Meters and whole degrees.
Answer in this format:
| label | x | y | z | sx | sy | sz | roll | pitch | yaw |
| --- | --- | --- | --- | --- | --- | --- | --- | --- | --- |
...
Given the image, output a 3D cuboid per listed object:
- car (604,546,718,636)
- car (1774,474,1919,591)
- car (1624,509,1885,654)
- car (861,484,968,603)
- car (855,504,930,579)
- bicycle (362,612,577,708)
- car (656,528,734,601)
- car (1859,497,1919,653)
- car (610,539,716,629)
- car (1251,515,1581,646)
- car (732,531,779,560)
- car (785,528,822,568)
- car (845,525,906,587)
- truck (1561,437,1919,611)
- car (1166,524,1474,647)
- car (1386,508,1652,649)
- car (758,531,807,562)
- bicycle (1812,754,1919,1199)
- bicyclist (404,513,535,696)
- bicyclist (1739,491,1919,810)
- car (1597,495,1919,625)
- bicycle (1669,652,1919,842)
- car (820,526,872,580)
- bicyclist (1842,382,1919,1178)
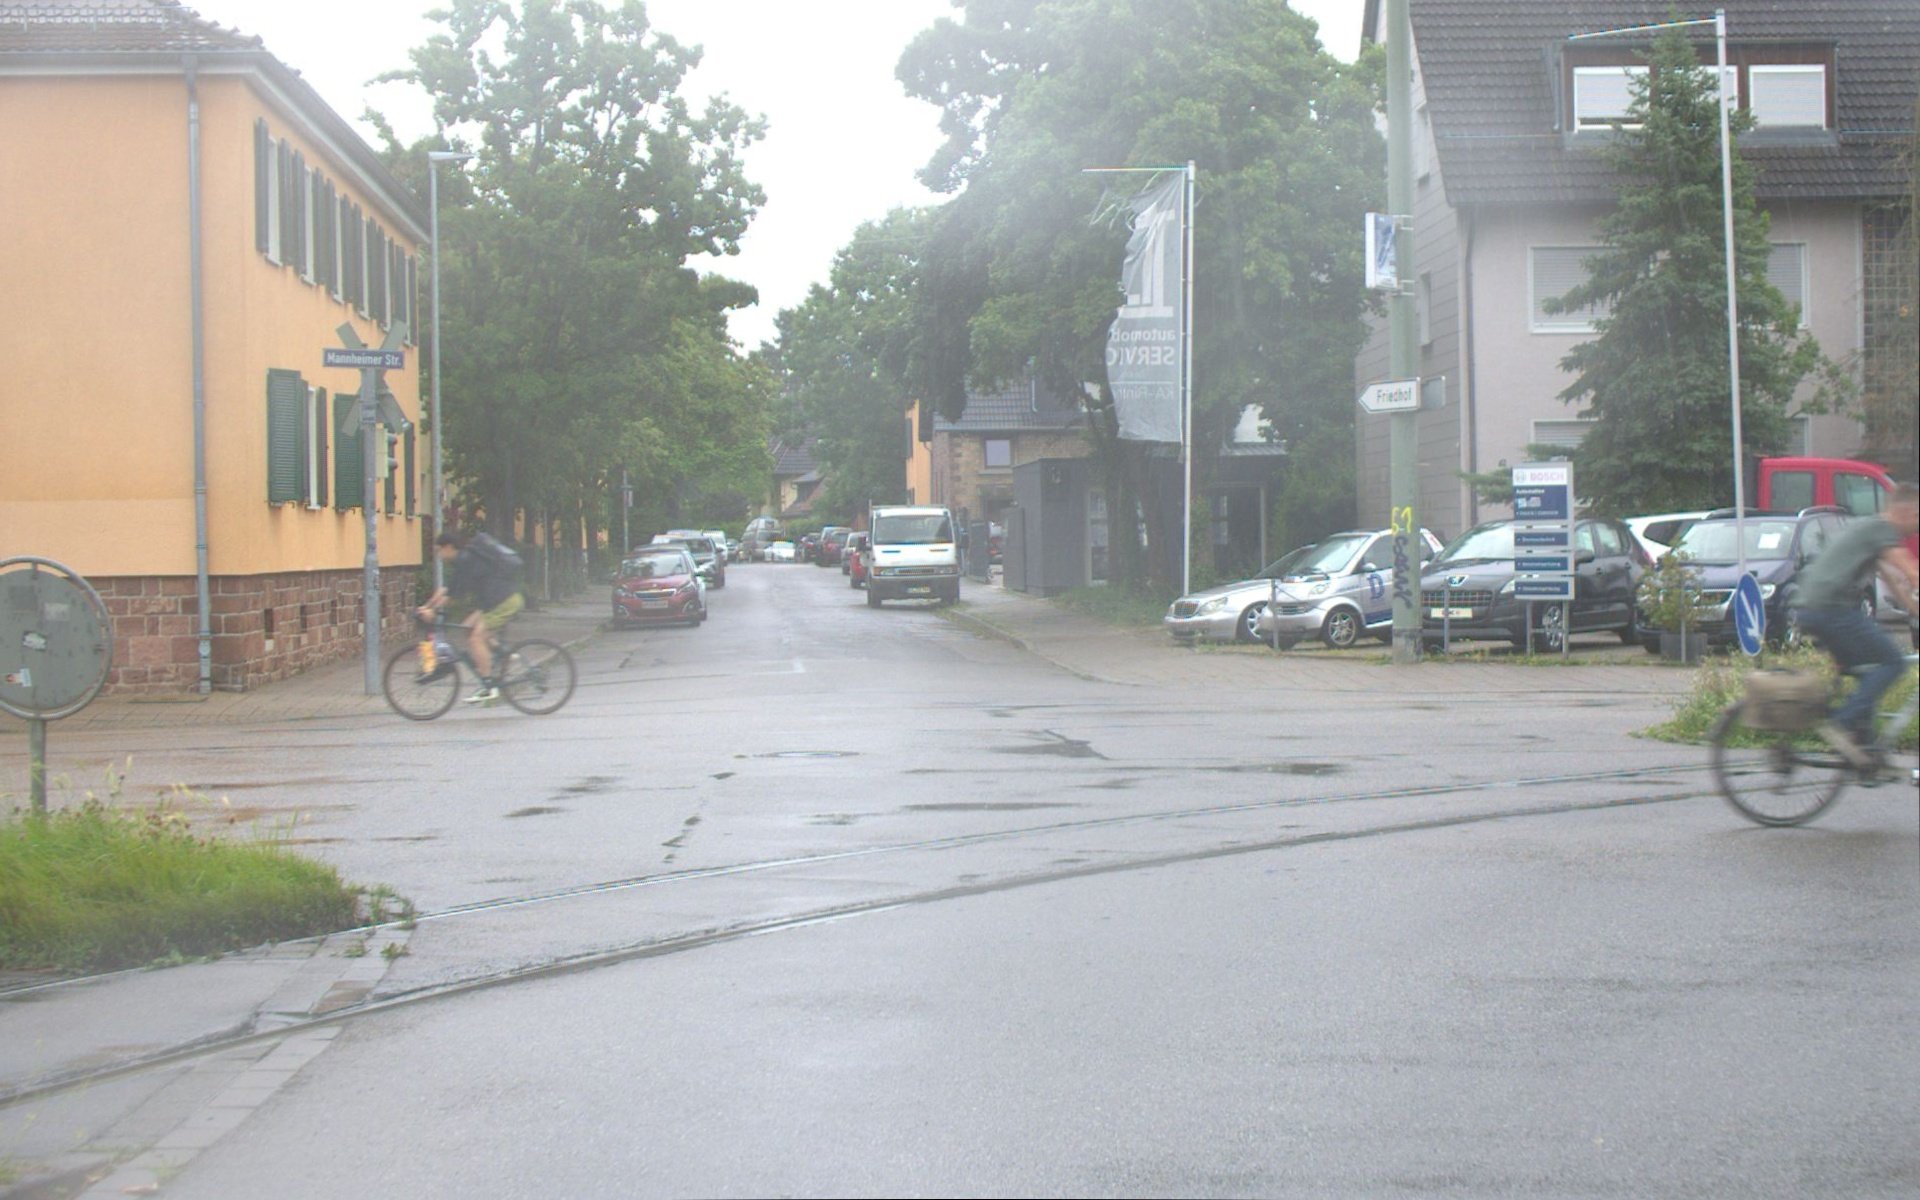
| label | x | y | z | sx | sy | sz | roll | pitch | yaw |
| --- | --- | --- | --- | --- | --- | --- | --- | --- | --- |
| car | -5.591 | -0.183 | 64.671 | 1.993 | 1.612 | 4.001 | -1 | 1 | -3 |
| car | 14.591 | -1.015 | 51.273 | 4.432 | 1.682 | 2.000 | -1 | 0 | 1 |
| car | 9.308 | -0.241 | 40.101 | 1.805 | 1.573 | 3.865 | -1 | 1 | 31 |
| car | -1.053 | -1.271 | 77.104 | 2.153 | 2.564 | 4.134 | 1 | 1 | -4 |
| car | -1.890 | -1.616 | 95.215 | 1.993 | 2.007 | 4.000 | 1 | 1 | -1 |
| bicycle | -4.409 | 0.535 | 31.029 | 1.813 | 0.784 | 0.942 | -2 | 1 | -2 |
| car | -7.598 | -1.036 | 98.773 | 1.993 | 2.007 | 4.000 | 1 | 1 | -1 |
| car | 11.905 | -0.330 | 39.421 | 1.997 | 1.711 | 3.993 | -1 | 1 | 32 |
| car | -5.972 | -0.327 | 69.433 | 1.993 | 1.744 | 4.001 | -1 | 1 | -3 |
| car | 5.983 | -0.268 | 45.161 | 3.858 | 1.573 | 1.808 | -2 | 1 | -21 |
| car | -12.099 | -3.220 | 202.983 | 1.828 | 1.691 | 4.033 | 1 | 1 | -18 |
| car | -8.163 | -2.721 | 179.298 | 1.828 | 2.007 | 4.001 | 1 | 1 | -4 |
| car | -2.831 | -1.476 | 114.706 | 1.828 | 2.007 | 4.001 | 1 | 1 | -4 |
| truck | 11.615 | -1.042 | 47.944 | 6.088 | 2.264 | 1.998 | -1 | 0 | 19 |
| car | 5.035 | -0.220 | 48.201 | 3.858 | 1.573 | 1.808 | -2 | 1 | -21 |
| car | 6.776 | -0.286 | 41.402 | 1.805 | 1.573 | 3.865 | -1 | 1 | 31 |
| car | -10.197 | -3.086 | 197.579 | 1.828 | 1.691 | 4.033 | 1 | 1 | -18 |
| bicycle | 2.185 | 0.885 | 6.577 | 0.753 | 1.069 | 1.927 | -2 | 1 | 5 |
| bicyclist | -4.418 | 0.030 | 31.017 | 1.039 | 1.592 | 0.950 | -2 | 1 | -2 |
| bicyclist | 4.452 | 0.244 | 17.147 | 0.911 | 1.553 | 0.834 | 0 | 0 | -4 |
| car | 10.547 | -0.515 | 45.280 | 3.969 | 1.592 | 1.998 | -1 | 0 | 19 |
| bicycle | 4.625 | 0.721 | 17.166 | 1.979 | 0.909 | 0.824 | 0 | 0 | -4 |
| car | -4.383 | -1.814 | 132.115 | 1.828 | 2.007 | 4.001 | 1 | 1 | -4 |
| bicyclist | 2.162 | 0.327 | 6.572 | 0.751 | 1.480 | 0.846 | -2 | 1 | 5 |
